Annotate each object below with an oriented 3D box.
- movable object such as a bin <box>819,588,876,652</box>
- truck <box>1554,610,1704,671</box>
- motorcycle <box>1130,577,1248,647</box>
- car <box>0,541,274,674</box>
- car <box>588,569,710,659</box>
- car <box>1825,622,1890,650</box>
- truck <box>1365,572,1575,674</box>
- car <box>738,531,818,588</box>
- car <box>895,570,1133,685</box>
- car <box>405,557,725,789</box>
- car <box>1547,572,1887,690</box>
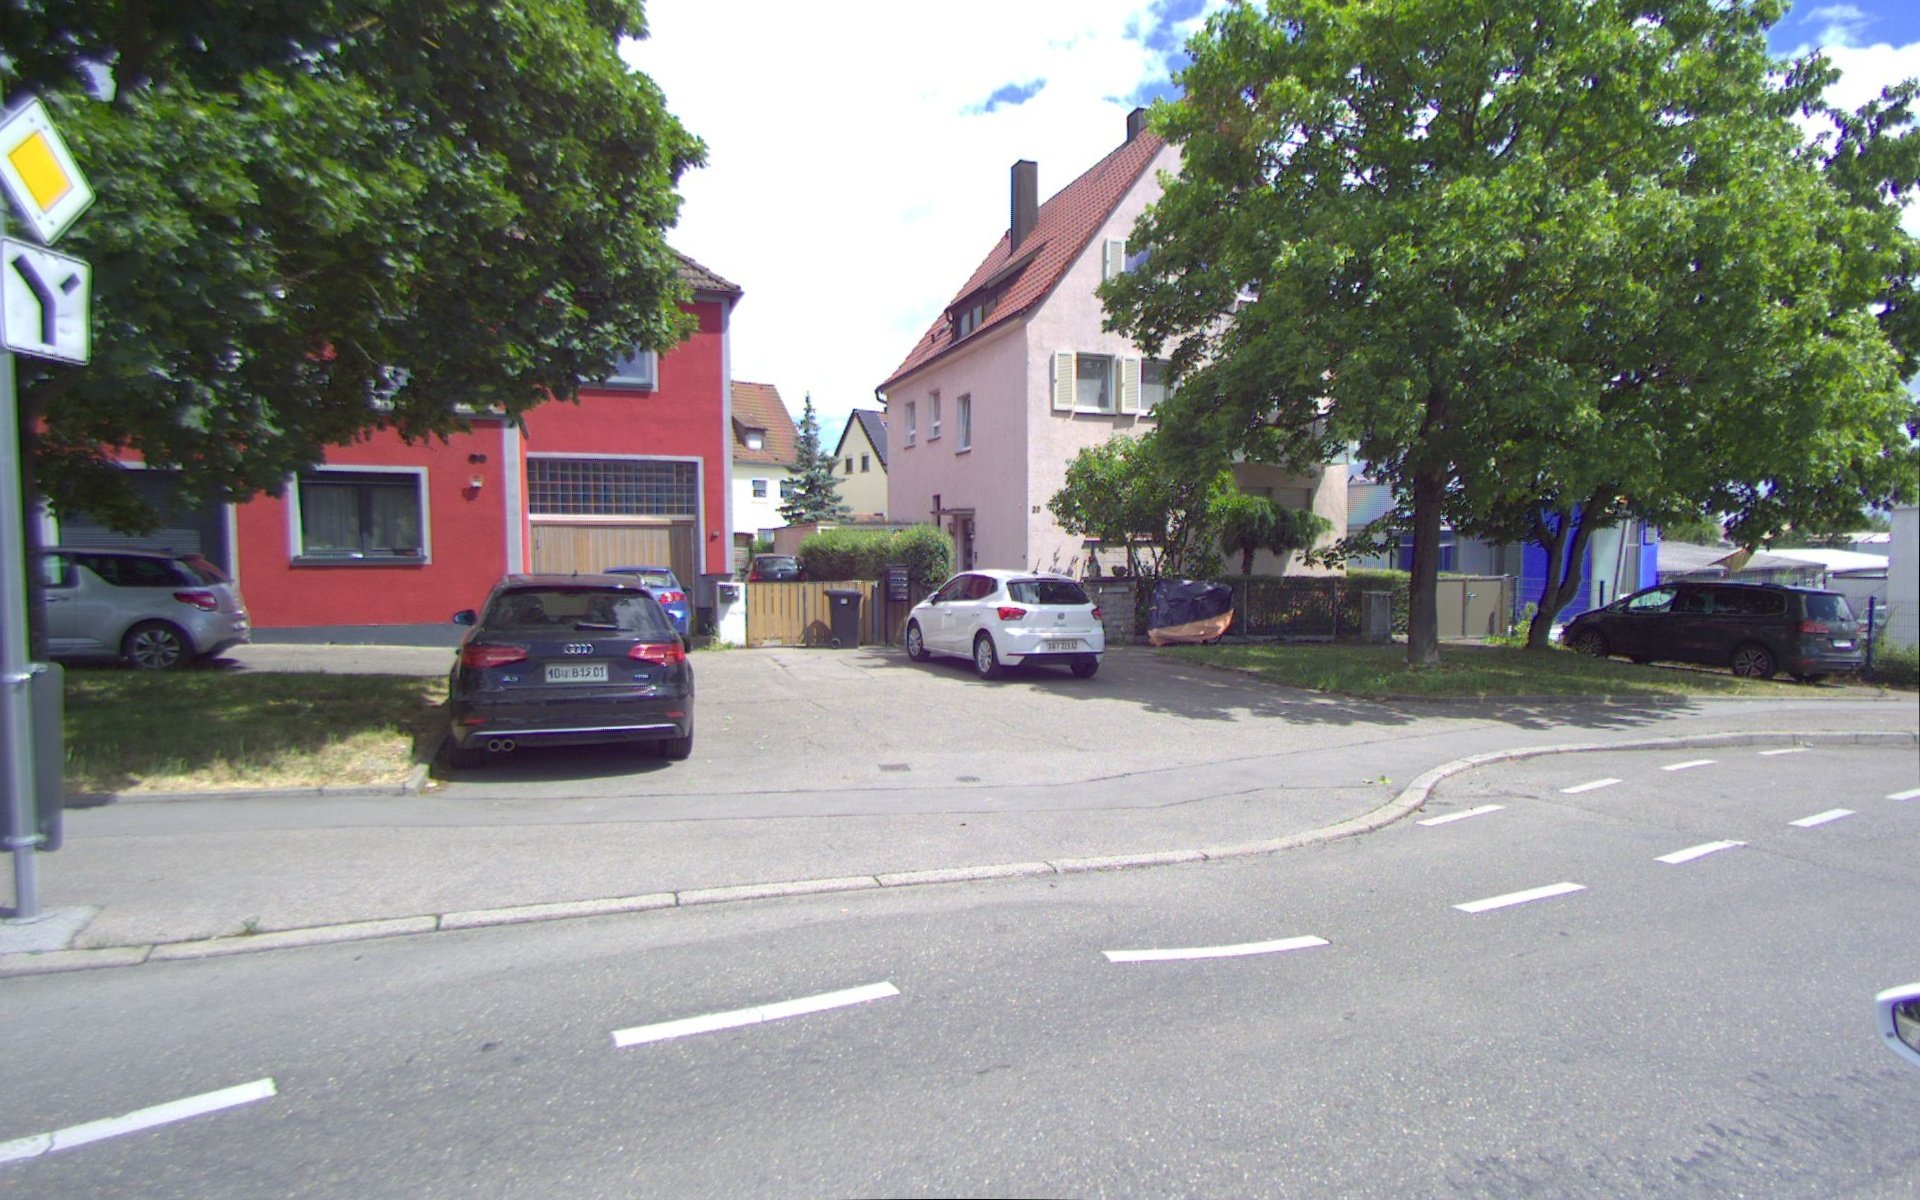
[{"bbox_3d":[-2.041,0.356,18.110,0.866,1.076,0.755,2,3,-18],"label":"movable object such as a bin"},{"bbox_3d":[32.888,1.927,49.593,2.155,2.742,5.745,2,-1,-34],"label":"truck"},{"bbox_3d":[4.714,0.255,20.664,2.204,1.333,0.915,2,3,-23],"label":"motorcycle"},{"bbox_3d":[-10.734,0.055,11.898,4.019,1.445,1.636,1,3,-22],"label":"car"},{"bbox_3d":[-5.526,0.175,17.567,1.815,1.396,3.795,1,1,-21],"label":"car"},{"bbox_3d":[50.301,2.013,56.285,3.964,1.372,1.978,2,1,-38],"label":"car"},{"bbox_3d":[15.841,0.705,31.236,5.793,2.912,2.454,2,1,-20],"label":"truck"},{"bbox_3d":[-5.115,-1.088,27.809,1.634,1.423,3.915,1,1,-18],"label":"car"},{"bbox_3d":[0.624,0.308,14.682,1.850,1.423,3.908,1,1,-24],"label":"car"},{"bbox_3d":[-3.316,0.407,8.658,1.970,1.412,4.123,1,3,-21],"label":"car"},{"bbox_3d":[13.930,0.479,18.895,1.971,1.739,4.689,3,2,-22],"label":"car"}]
